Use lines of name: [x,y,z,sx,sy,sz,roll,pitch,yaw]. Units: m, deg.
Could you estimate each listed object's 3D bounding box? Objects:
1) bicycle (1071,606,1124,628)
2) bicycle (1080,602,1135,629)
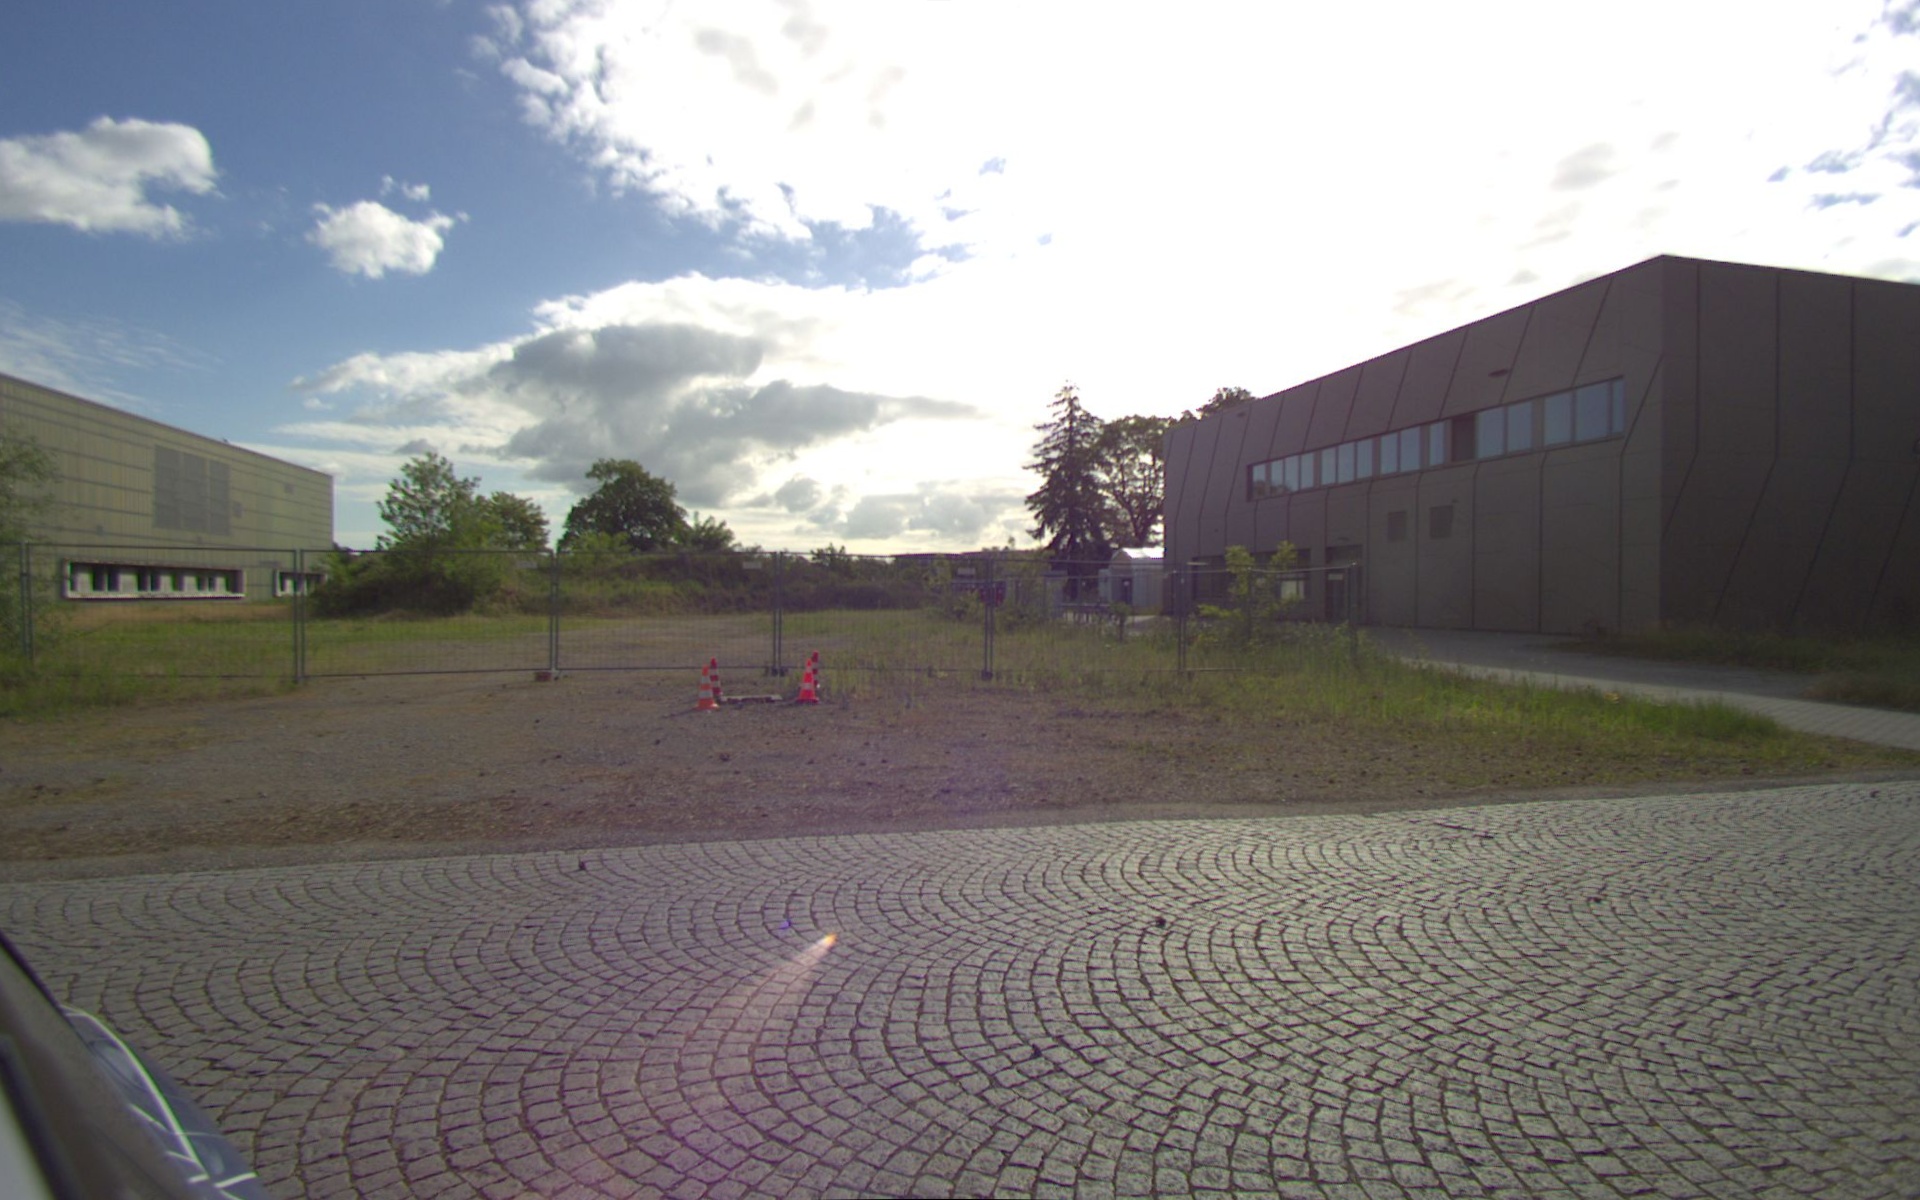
bicycle: [5.884,0.717,43.382,2.034,0.928,0.949,0,0,-15]
bicycle: [6.134,0.638,42.150,2.034,1.095,0.949,0,0,-15]
